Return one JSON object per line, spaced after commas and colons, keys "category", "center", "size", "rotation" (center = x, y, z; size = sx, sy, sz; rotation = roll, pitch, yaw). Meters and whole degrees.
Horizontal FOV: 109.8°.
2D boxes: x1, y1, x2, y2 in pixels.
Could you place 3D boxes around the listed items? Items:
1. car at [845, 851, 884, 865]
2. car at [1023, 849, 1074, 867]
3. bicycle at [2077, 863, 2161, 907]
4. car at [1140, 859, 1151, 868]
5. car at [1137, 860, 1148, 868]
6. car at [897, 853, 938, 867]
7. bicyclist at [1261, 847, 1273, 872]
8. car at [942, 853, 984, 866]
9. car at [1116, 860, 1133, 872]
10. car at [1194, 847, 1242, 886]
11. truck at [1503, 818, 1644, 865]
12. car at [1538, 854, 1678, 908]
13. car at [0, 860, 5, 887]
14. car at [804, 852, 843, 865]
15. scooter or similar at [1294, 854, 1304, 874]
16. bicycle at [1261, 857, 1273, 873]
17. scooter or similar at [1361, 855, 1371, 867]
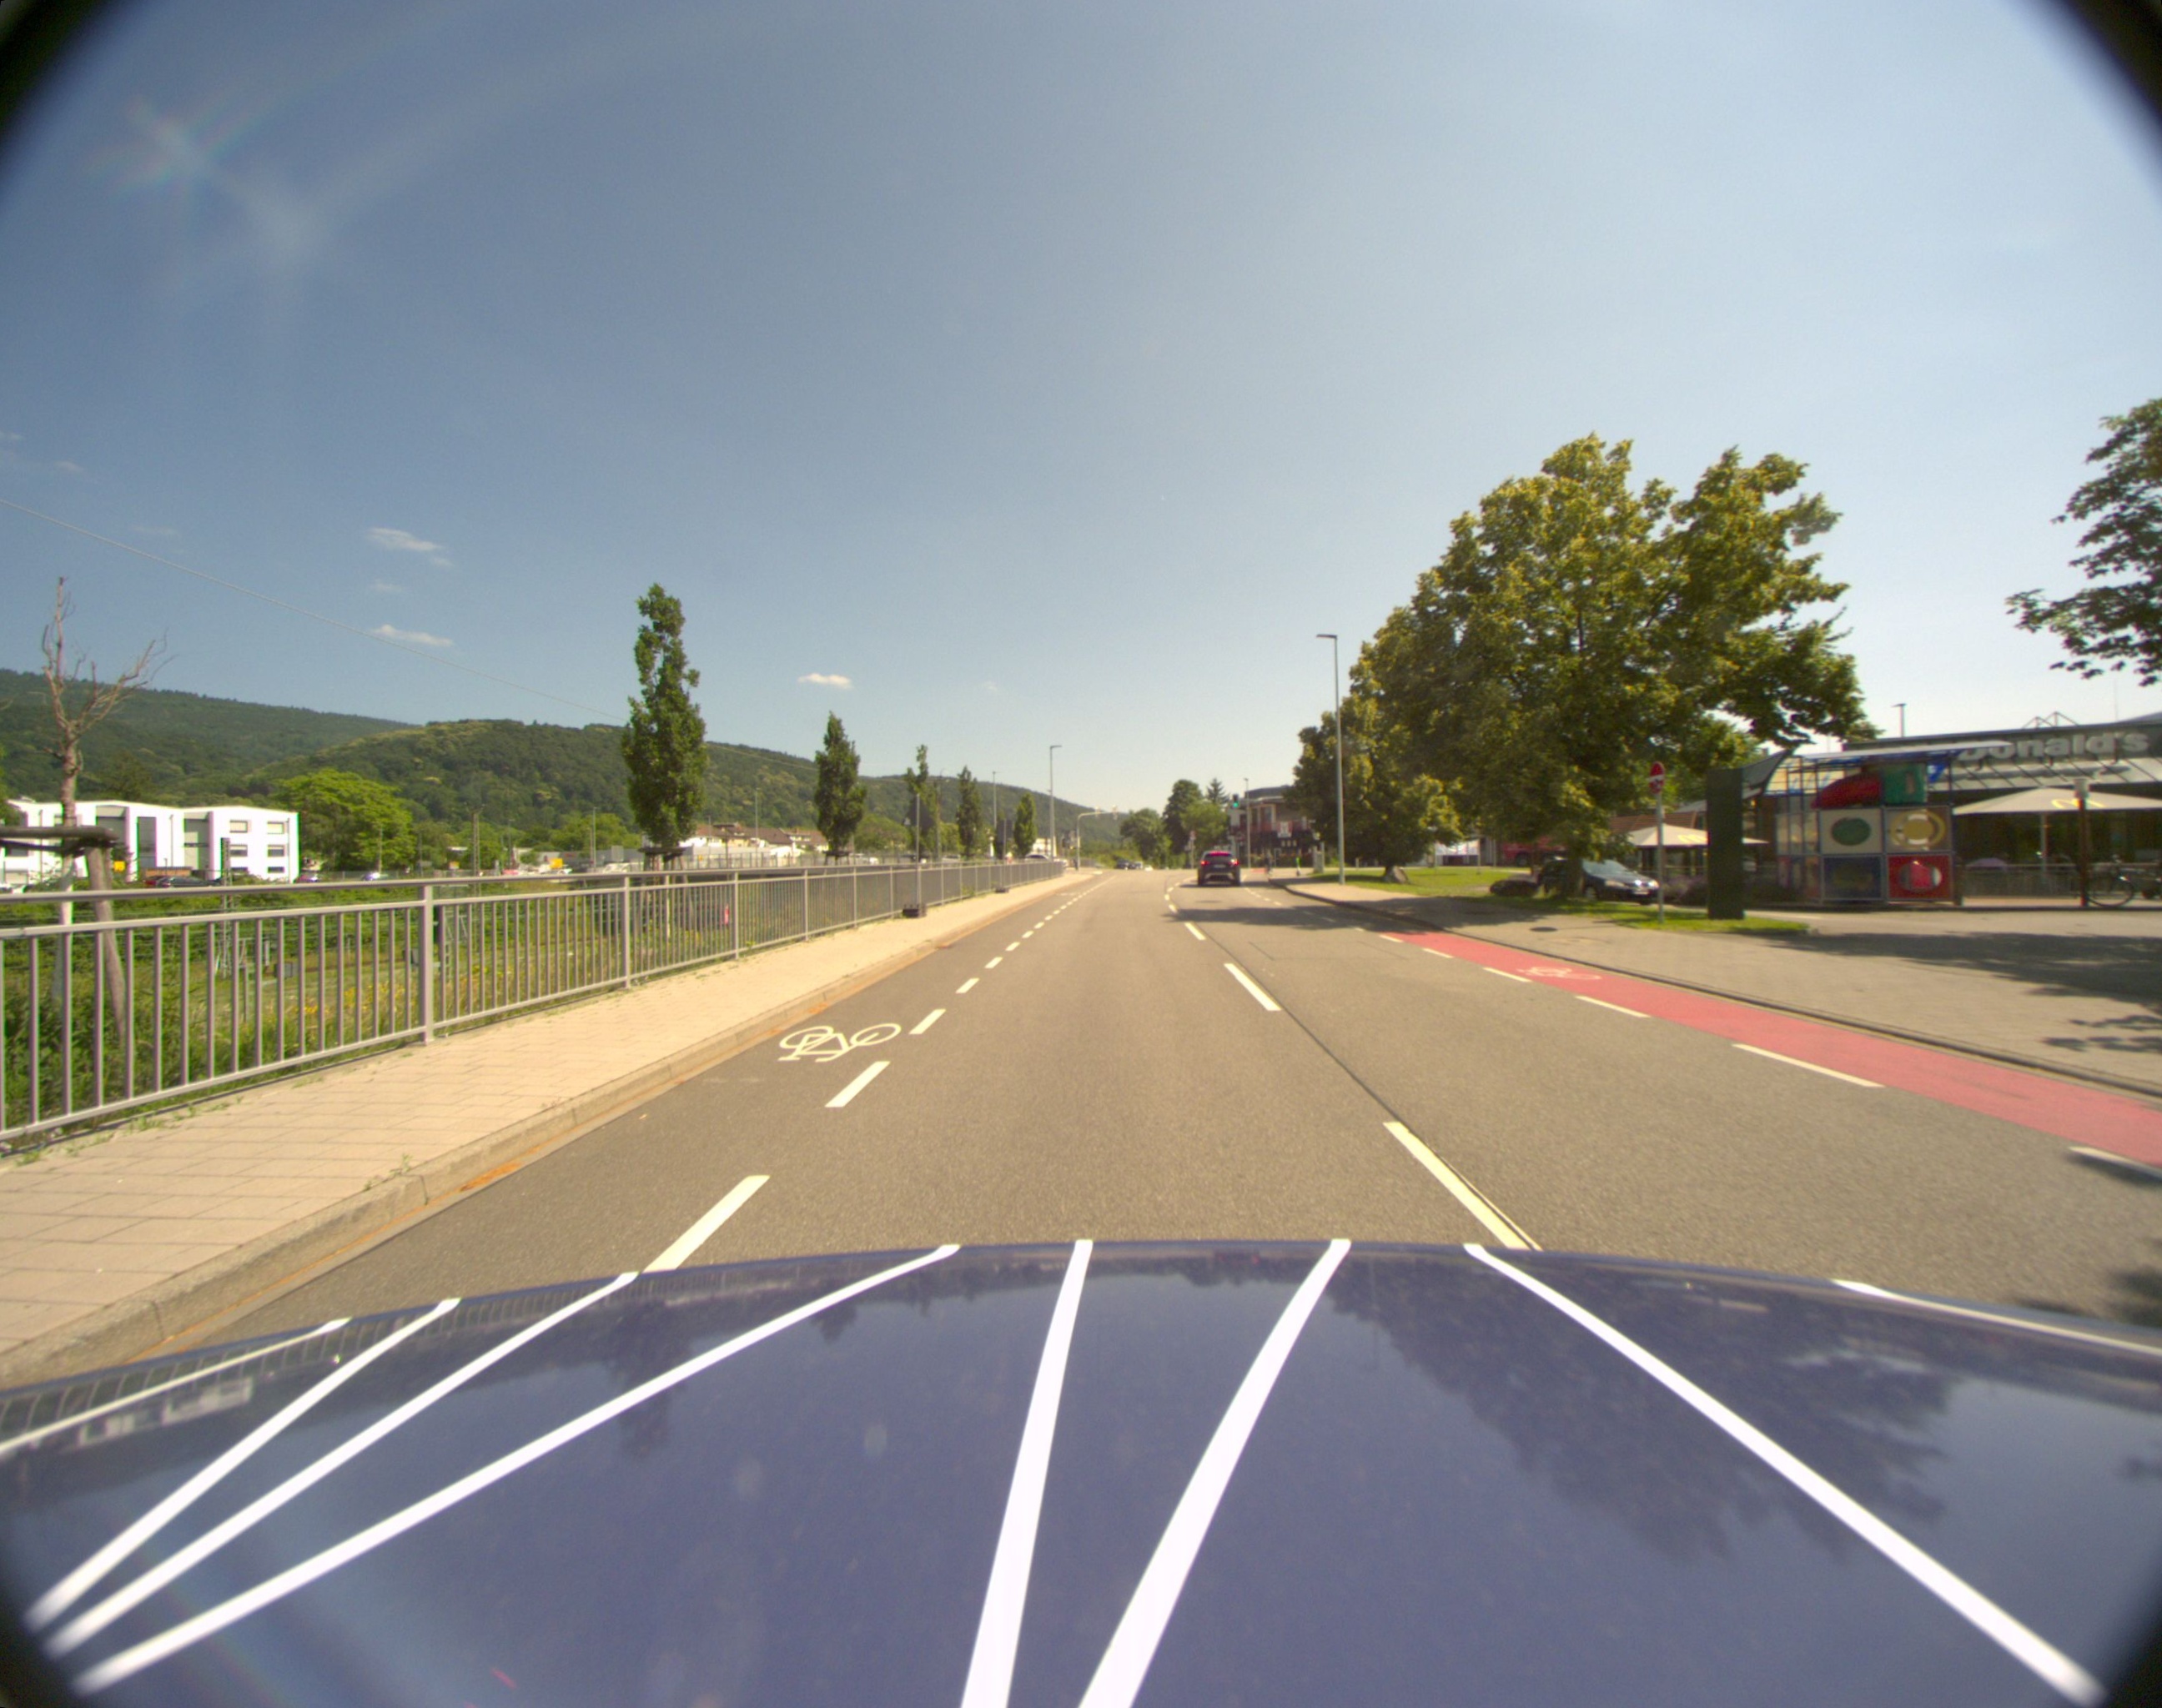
{"category": "car", "center": [-26.105, 0.488, 91.699], "size": [4.431, 1.617, 1.740], "rotation": [0, 0, 24]}
{"category": "car", "center": [-3.245, 0.409, 75.478], "size": [4.621, 1.709, 2.003], "rotation": [-1, 0, 24]}
{"category": "bicycle", "center": [23.945, 0.694, 17.108], "size": [1.853, 0.986, 0.309], "rotation": [-1, 0, 31]}
{"category": "car", "center": [11.127, 1.631, 131.445], "size": [1.671, 1.524, 4.002], "rotation": [-1, 0, 7]}
{"category": "car", "center": [10.071, 1.619, 124.071], "size": [1.671, 1.309, 4.002], "rotation": [-1, 0, 7]}
{"category": "car", "center": [-19.002, 0.672, 88.374], "size": [4.431, 1.617, 1.740], "rotation": [0, 0, 24]}
{"category": "bicyclist", "center": [13.154, 0.407, 53.709], "size": [0.711, 1.778, 0.810], "rotation": [-1, 0, 18]}
{"category": "car", "center": [-13.199, 0.587, 84.903], "size": [4.399, 1.461, 1.740], "rotation": [0, 0, 24]}
{"category": "car", "center": [5.945, 1.599, 103.722], "size": [1.828, 1.617, 4.240], "rotation": [-1, 0, 10]}
{"category": "car", "center": [6.399, 0.568, 35.813], "size": [1.954, 1.685, 4.615], "rotation": [-1, 0, 7]}
{"category": "truck", "center": [38.905, -0.897, 60.580], "size": [9.144, 3.366, 3.321], "rotation": [-1, 0, 28]}
{"category": "car", "center": [16.247, 0.774, 23.709], "size": [1.863, 1.543, 4.191], "rotation": [-1, 0, 7]}
{"category": "car", "center": [-85.599, 1.520, 57.144], "size": [1.997, 2.100, 4.995], "rotation": [-1, 0, 10]}
{"category": "car", "center": [-32.049, 0.570, 94.569], "size": [4.432, 1.617, 1.740], "rotation": [-1, 0, 23]}
{"category": "scooter or similar", "center": [12.670, 0.571, 44.123], "size": [0.472, 1.177, 1.367], "rotation": [-1, 0, 18]}
{"category": "bicycle", "center": [13.185, 0.764, 53.739], "size": [0.698, 1.098, 1.757], "rotation": [1, 0, 18]}
{"category": "scooter or similar", "center": [27.918, 0.689, 74.459], "size": [0.499, 1.117, 1.507], "rotation": [0, 0, 38]}
